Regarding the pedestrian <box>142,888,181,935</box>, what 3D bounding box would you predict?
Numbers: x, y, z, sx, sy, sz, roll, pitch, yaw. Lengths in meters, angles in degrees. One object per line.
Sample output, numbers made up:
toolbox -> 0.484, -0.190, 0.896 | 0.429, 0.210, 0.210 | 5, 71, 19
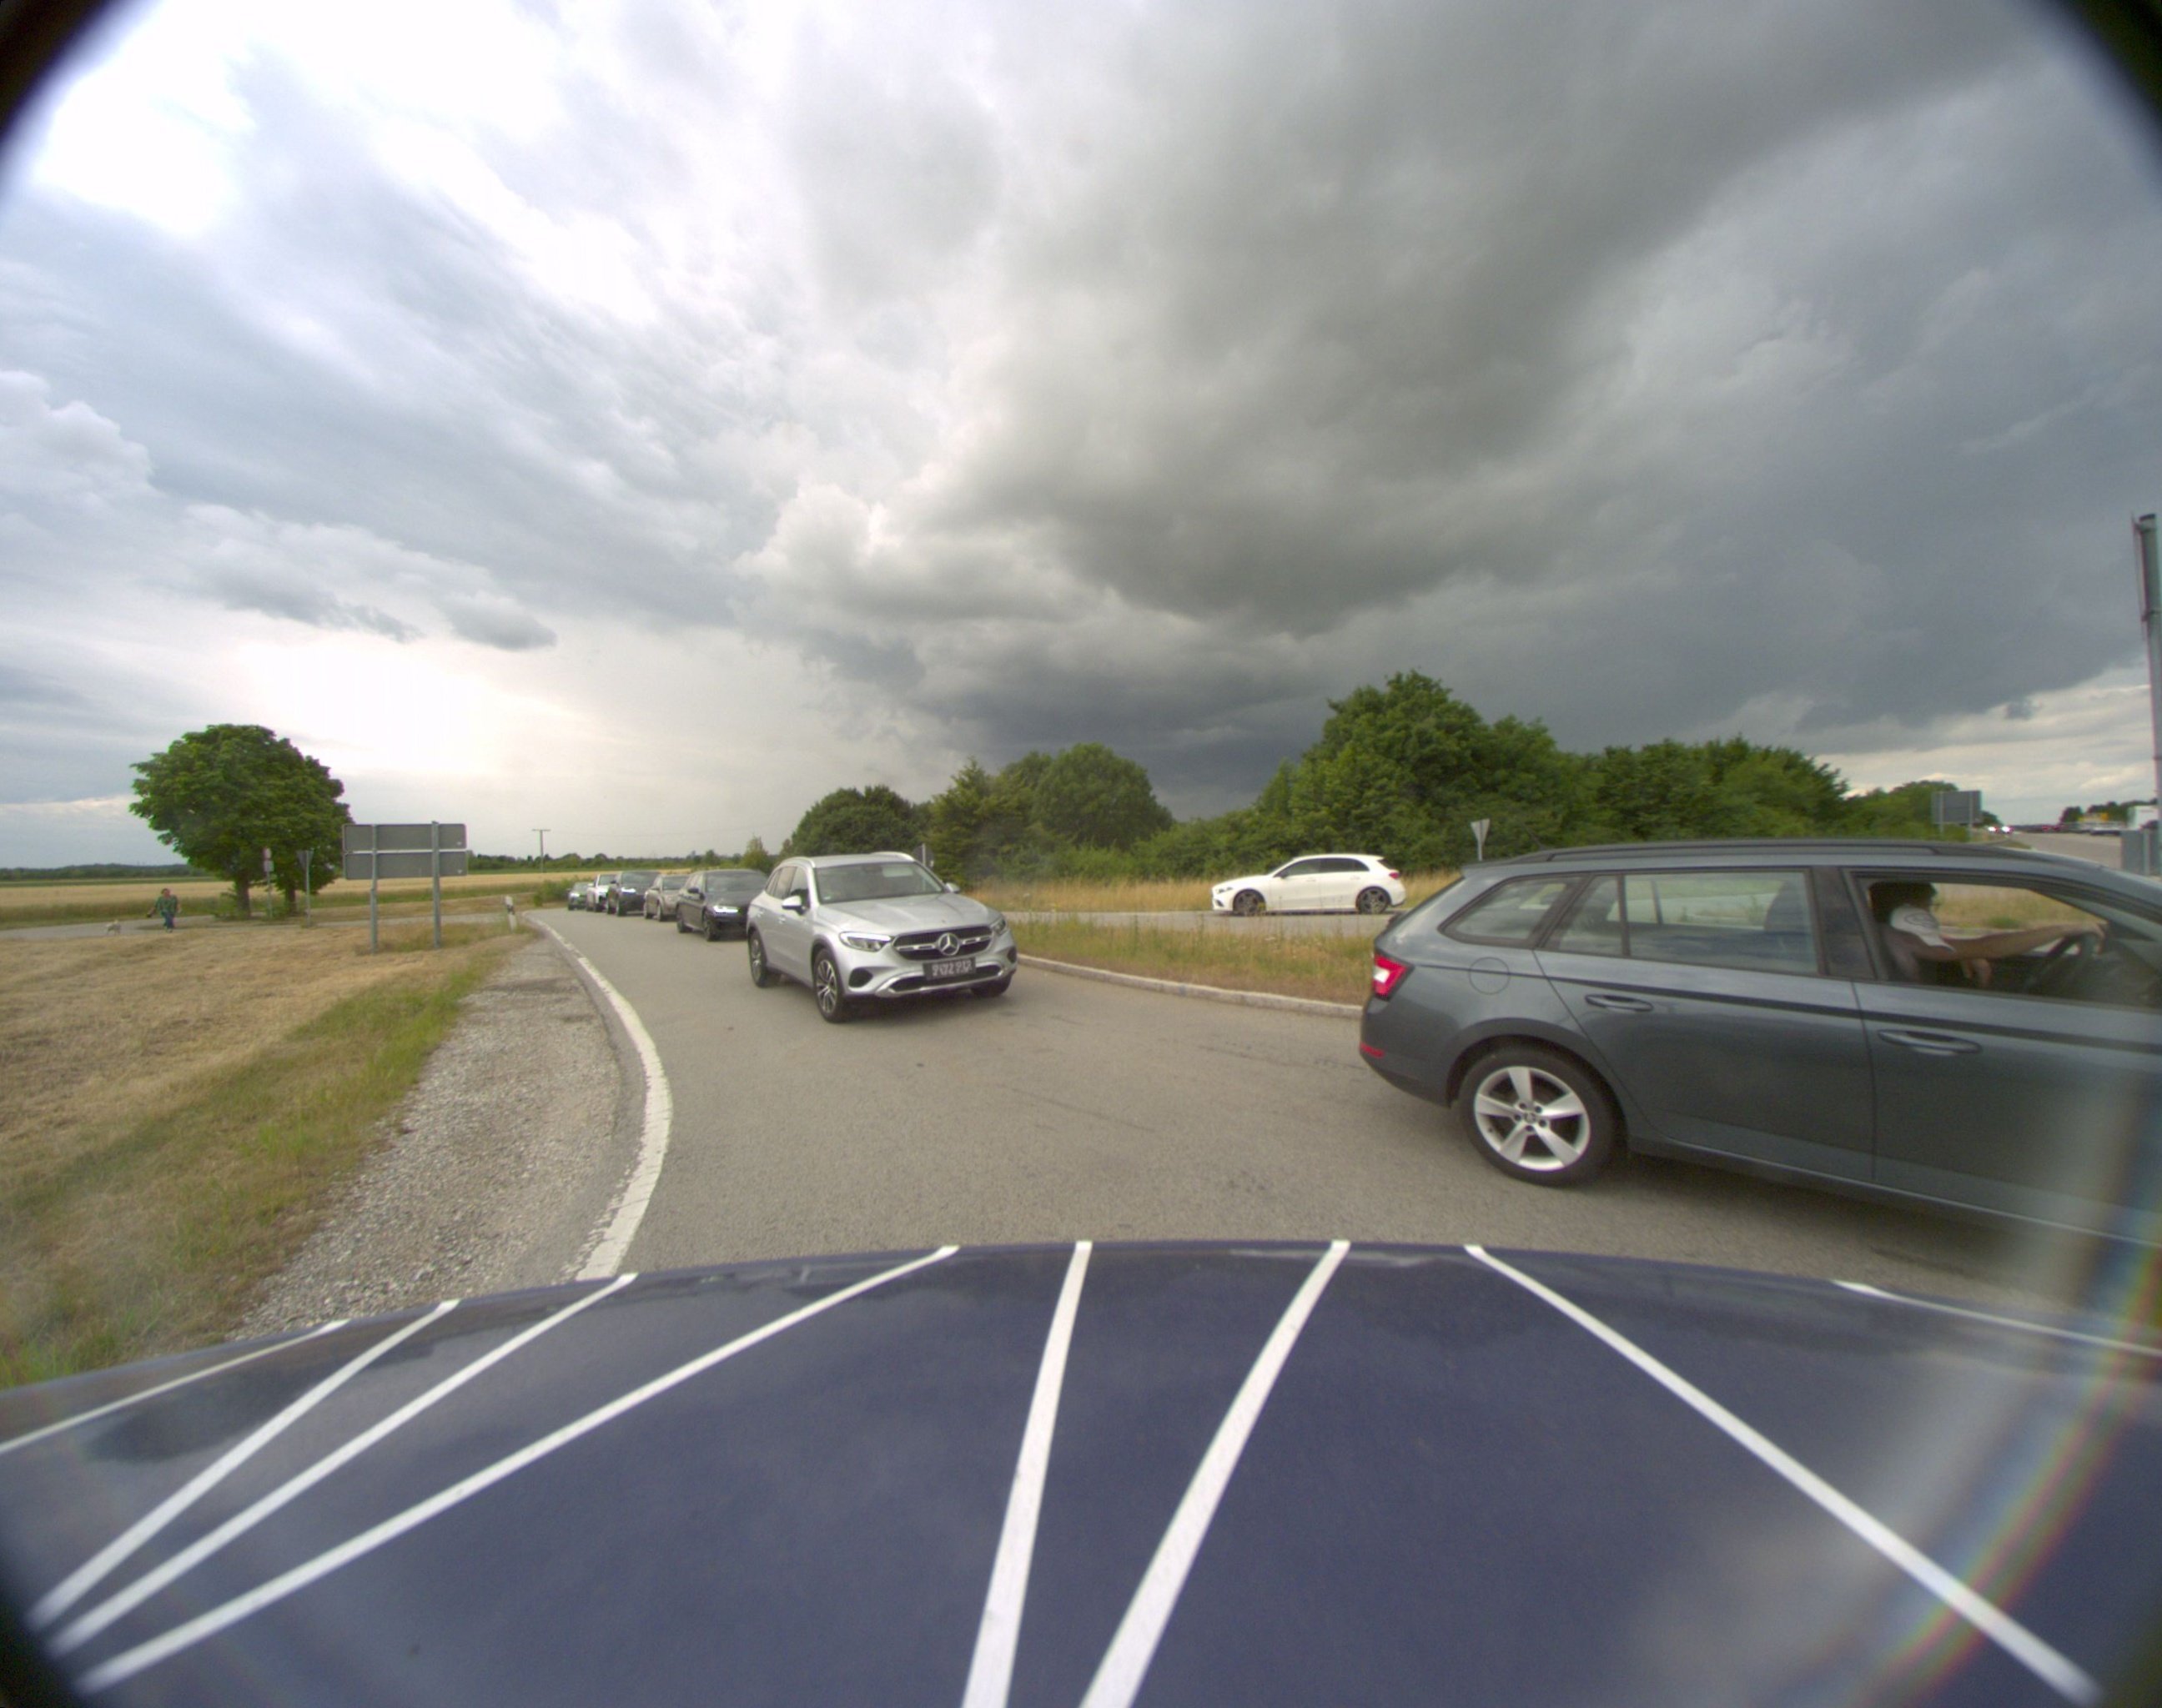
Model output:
pedestrian -> -32.835, 2.020, 27.145 | 0.942, 1.602, 0.775 | -1, 1, 35

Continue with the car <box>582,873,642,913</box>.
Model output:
car -> -20.697, 1.641, 33.443 | 1.725, 1.486, 4.626 | -4, 2, -37

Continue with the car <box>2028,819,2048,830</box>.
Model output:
car -> 159.541, -4.847, 126.648 | 4.008, 1.740, 1.853 | -1, 1, -41

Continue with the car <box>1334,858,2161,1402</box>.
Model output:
car -> 3.344, 0.782, 2.932 | 4.105, 1.439, 1.722 | -1, 2, 42

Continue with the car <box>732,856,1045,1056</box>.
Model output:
car -> -2.468, 0.883, 8.777 | 2.000, 1.577, 4.383 | -4, 2, -35

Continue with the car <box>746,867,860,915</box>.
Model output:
car -> -9.708, 1.220, 26.396 | 4.300, 1.400, 1.824 | 1, 1, 40

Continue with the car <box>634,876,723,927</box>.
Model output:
car -> -12.618, 1.411, 23.693 | 1.725, 1.345, 4.202 | -2, 0, -37

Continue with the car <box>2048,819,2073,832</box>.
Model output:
car -> 135.752, -3.905, 105.340 | 4.008, 1.740, 1.853 | -1, 1, -41

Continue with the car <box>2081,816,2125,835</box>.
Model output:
car -> 111.914, -3.073, 83.247 | 4.885, 1.911, 2.334 | -1, 0, -42

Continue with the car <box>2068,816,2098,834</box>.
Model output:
car -> 120.434, -3.474, 91.342 | 4.008, 2.002, 1.792 | -1, 0, -43

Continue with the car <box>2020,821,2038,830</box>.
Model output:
car -> 176.533, -5.307, 141.508 | 4.008, 1.543, 1.792 | -1, 0, -42

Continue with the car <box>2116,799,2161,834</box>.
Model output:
car -> 97.689, -3.379, 69.814 | 6.571, 3.011, 2.334 | -1, 0, -42

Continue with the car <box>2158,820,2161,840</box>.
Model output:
car -> 82.932, -1.834, 57.096 | 4.008, 1.516, 1.843 | -1, 0, -42

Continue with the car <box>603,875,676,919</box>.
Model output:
car -> -16.499, 1.524, 28.295 | 1.725, 1.345, 4.203 | -4, 2, -37

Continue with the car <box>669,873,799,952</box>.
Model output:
car -> -7.896, 1.188, 17.031 | 1.725, 1.345, 4.683 | -4, 2, -35

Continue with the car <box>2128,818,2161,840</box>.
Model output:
car -> 89.241, -2.096, 63.342 | 4.008, 1.740, 1.853 | -1, 1, -42

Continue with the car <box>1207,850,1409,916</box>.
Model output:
car -> 5.278, 0.666, 18.062 | 4.385, 1.443, 1.773 | -1, 1, 13

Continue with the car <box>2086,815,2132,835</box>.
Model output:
car -> 106.413, -2.942, 78.697 | 4.885, 1.911, 2.334 | -1, 0, -42

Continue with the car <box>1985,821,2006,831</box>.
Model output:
car -> 145.289, -4.407, 120.699 | 4.007, 1.474, 1.994 | -2, 1, -42

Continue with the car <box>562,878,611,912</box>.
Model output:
car -> -26.012, 2.097, 39.921 | 1.725, 1.486, 4.203 | -4, 2, -37
